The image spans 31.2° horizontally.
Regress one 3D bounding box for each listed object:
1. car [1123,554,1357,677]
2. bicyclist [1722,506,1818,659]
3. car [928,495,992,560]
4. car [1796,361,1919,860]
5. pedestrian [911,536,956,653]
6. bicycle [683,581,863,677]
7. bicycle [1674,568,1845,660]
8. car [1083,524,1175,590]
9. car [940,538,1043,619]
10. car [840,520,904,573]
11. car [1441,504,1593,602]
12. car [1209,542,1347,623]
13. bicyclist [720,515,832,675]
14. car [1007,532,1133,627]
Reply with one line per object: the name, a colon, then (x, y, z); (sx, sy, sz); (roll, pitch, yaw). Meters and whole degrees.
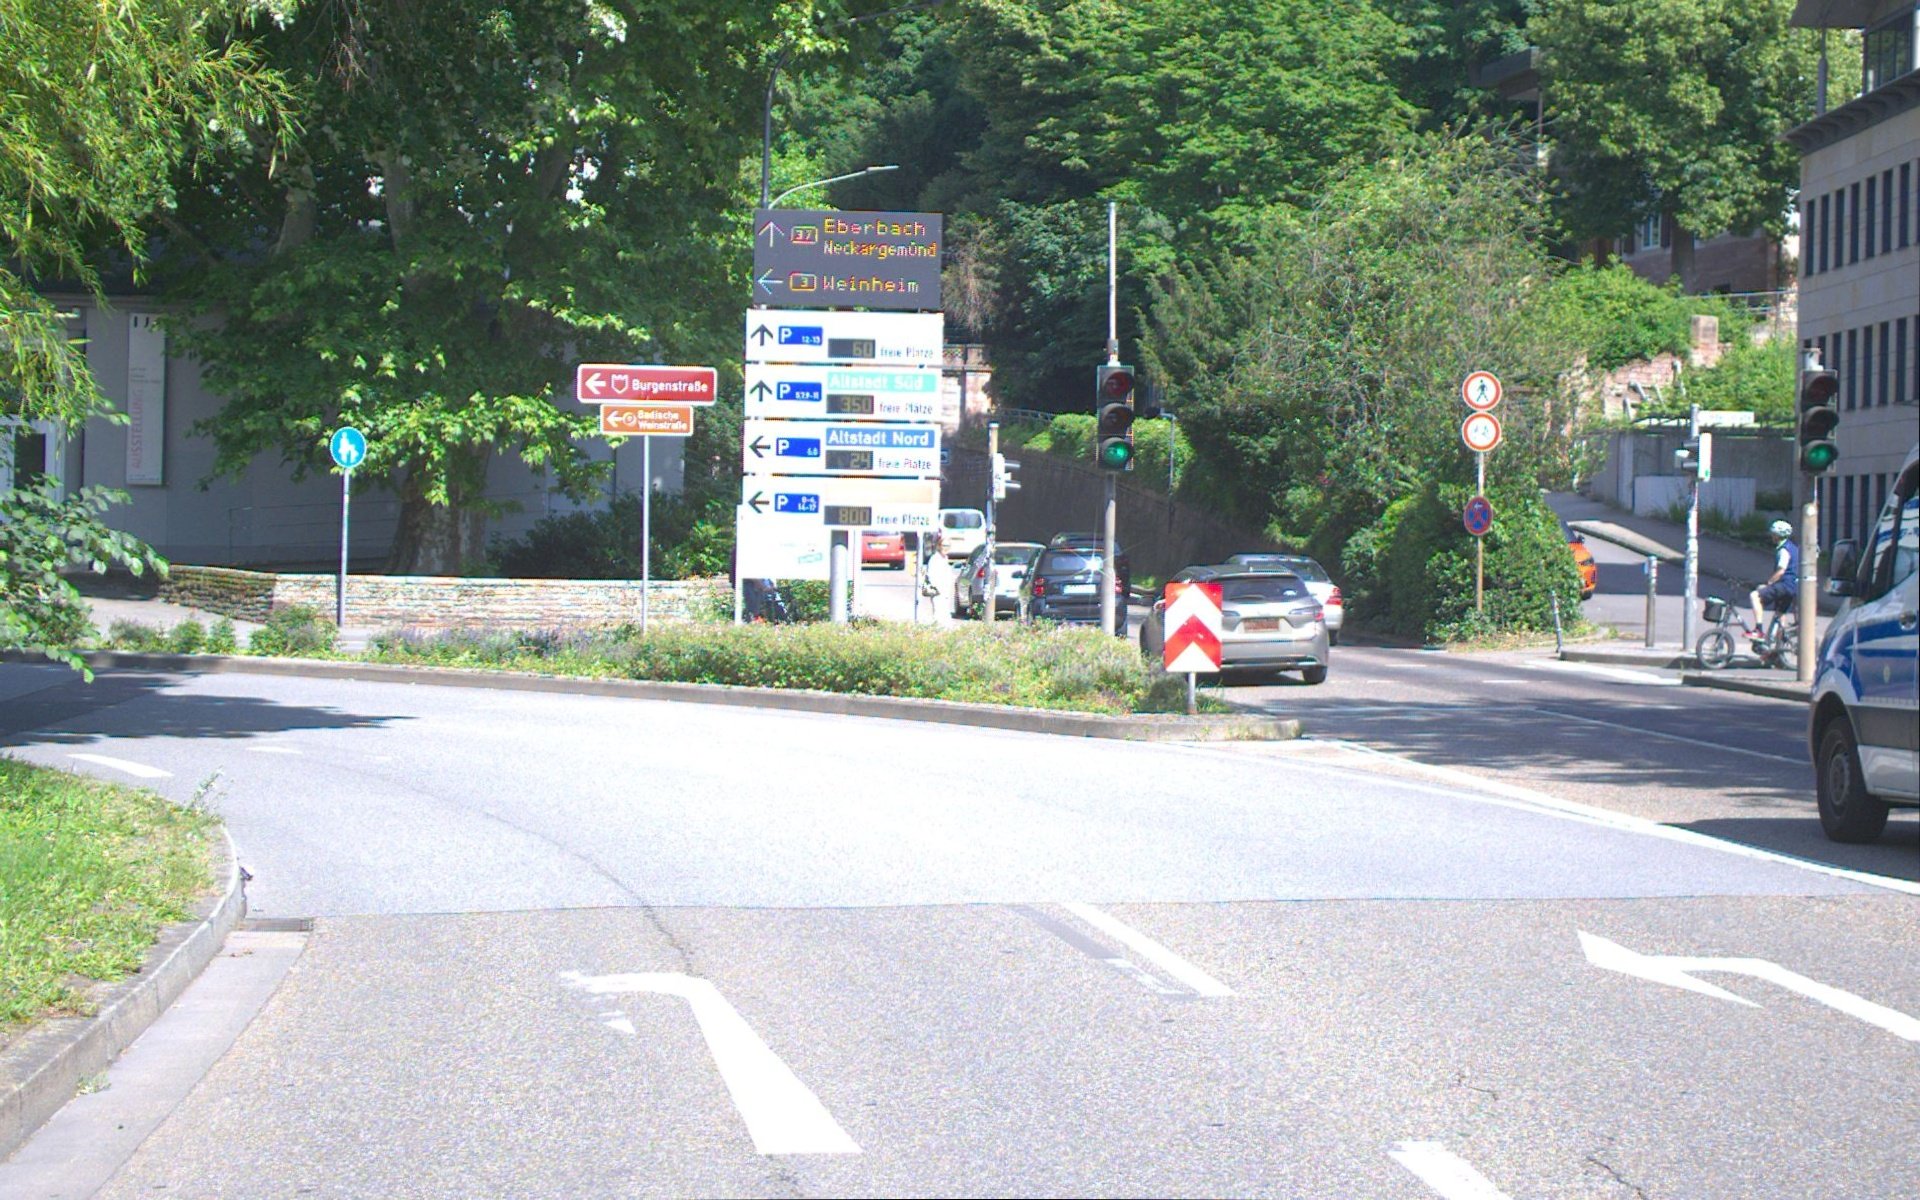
car: (3.329, 0.157, 41.526); (1.755, 1.329, 3.803); (1, 1, -12)
bicyclist: (10.391, -0.226, 44.119); (1.126, 1.926, 0.748); (1, 1, 11)
car: (-0.018, -2.241, 105.793); (1.756, 1.931, 3.494); (1, 1, -2)
car: (5.881, 0.080, 16.796); (2.073, 2.500, 4.930); (2, 1, -3)
pedestrian: (-0.368, -0.084, 48.144); (0.547, 1.615, 0.634); (1, 1, 7)
bicycle: (-2.306, 0.348, 42.371); (2.079, 1.109, 0.756); (2, 1, 23)
bicycle: (10.250, 0.173, 44.152); (2.077, 1.109, 0.756); (1, 1, 10)
car: (3.888, -1.006, 79.570); (1.756, 1.456, 3.646); (1, 1, -2)
car: (0.568, -0.433, 65.700); (1.756, 1.456, 3.646); (1, 1, -2)
car: (-2.564, -1.555, 99.675); (1.756, 1.456, 3.494); (1, 1, -2)
car: (9.993, -0.837, 61.983); (1.931, 1.691, 4.000); (1, 1, -2)
car: (5.104, -0.304, 55.551); (1.756, 1.209, 3.494); (1, 1, -2)
bicyclist: (-2.270, -0.063, 42.359); (1.127, 1.926, 0.747); (2, 1, 23)
car: (1.761, -0.357, 55.983); (1.756, 1.456, 3.494); (1, 1, -2)
